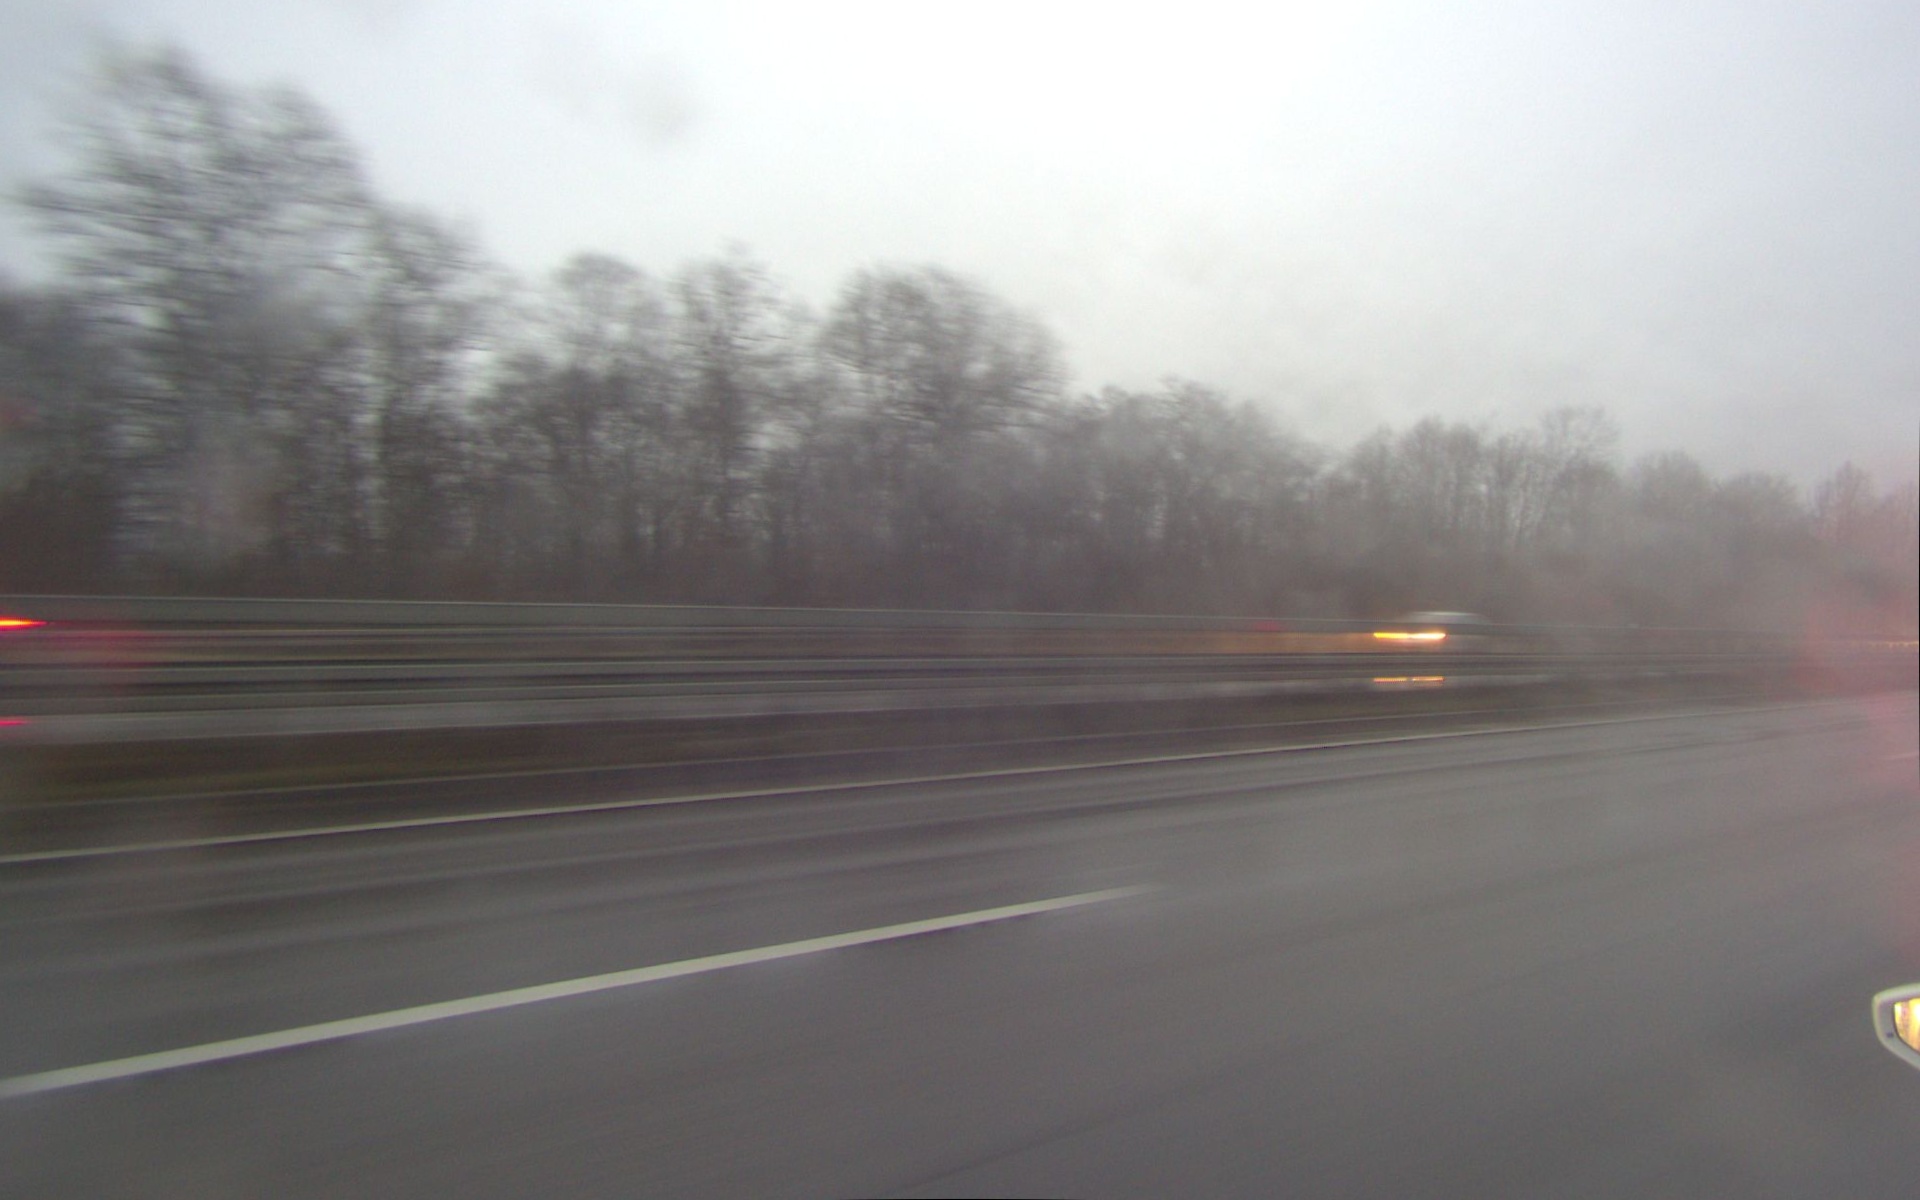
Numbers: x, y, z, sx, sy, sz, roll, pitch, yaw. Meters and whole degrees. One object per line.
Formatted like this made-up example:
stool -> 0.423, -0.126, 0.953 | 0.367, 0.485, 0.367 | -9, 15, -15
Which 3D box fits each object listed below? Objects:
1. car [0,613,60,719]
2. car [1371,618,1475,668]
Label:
car -> -16.926, 0.959, 15.352 | 4.361, 1.507, 1.741 | 2, 2, -20
car -> 15.768, 1.428, 34.149 | 3.969, 1.507, 1.727 | 2, 1, -41
